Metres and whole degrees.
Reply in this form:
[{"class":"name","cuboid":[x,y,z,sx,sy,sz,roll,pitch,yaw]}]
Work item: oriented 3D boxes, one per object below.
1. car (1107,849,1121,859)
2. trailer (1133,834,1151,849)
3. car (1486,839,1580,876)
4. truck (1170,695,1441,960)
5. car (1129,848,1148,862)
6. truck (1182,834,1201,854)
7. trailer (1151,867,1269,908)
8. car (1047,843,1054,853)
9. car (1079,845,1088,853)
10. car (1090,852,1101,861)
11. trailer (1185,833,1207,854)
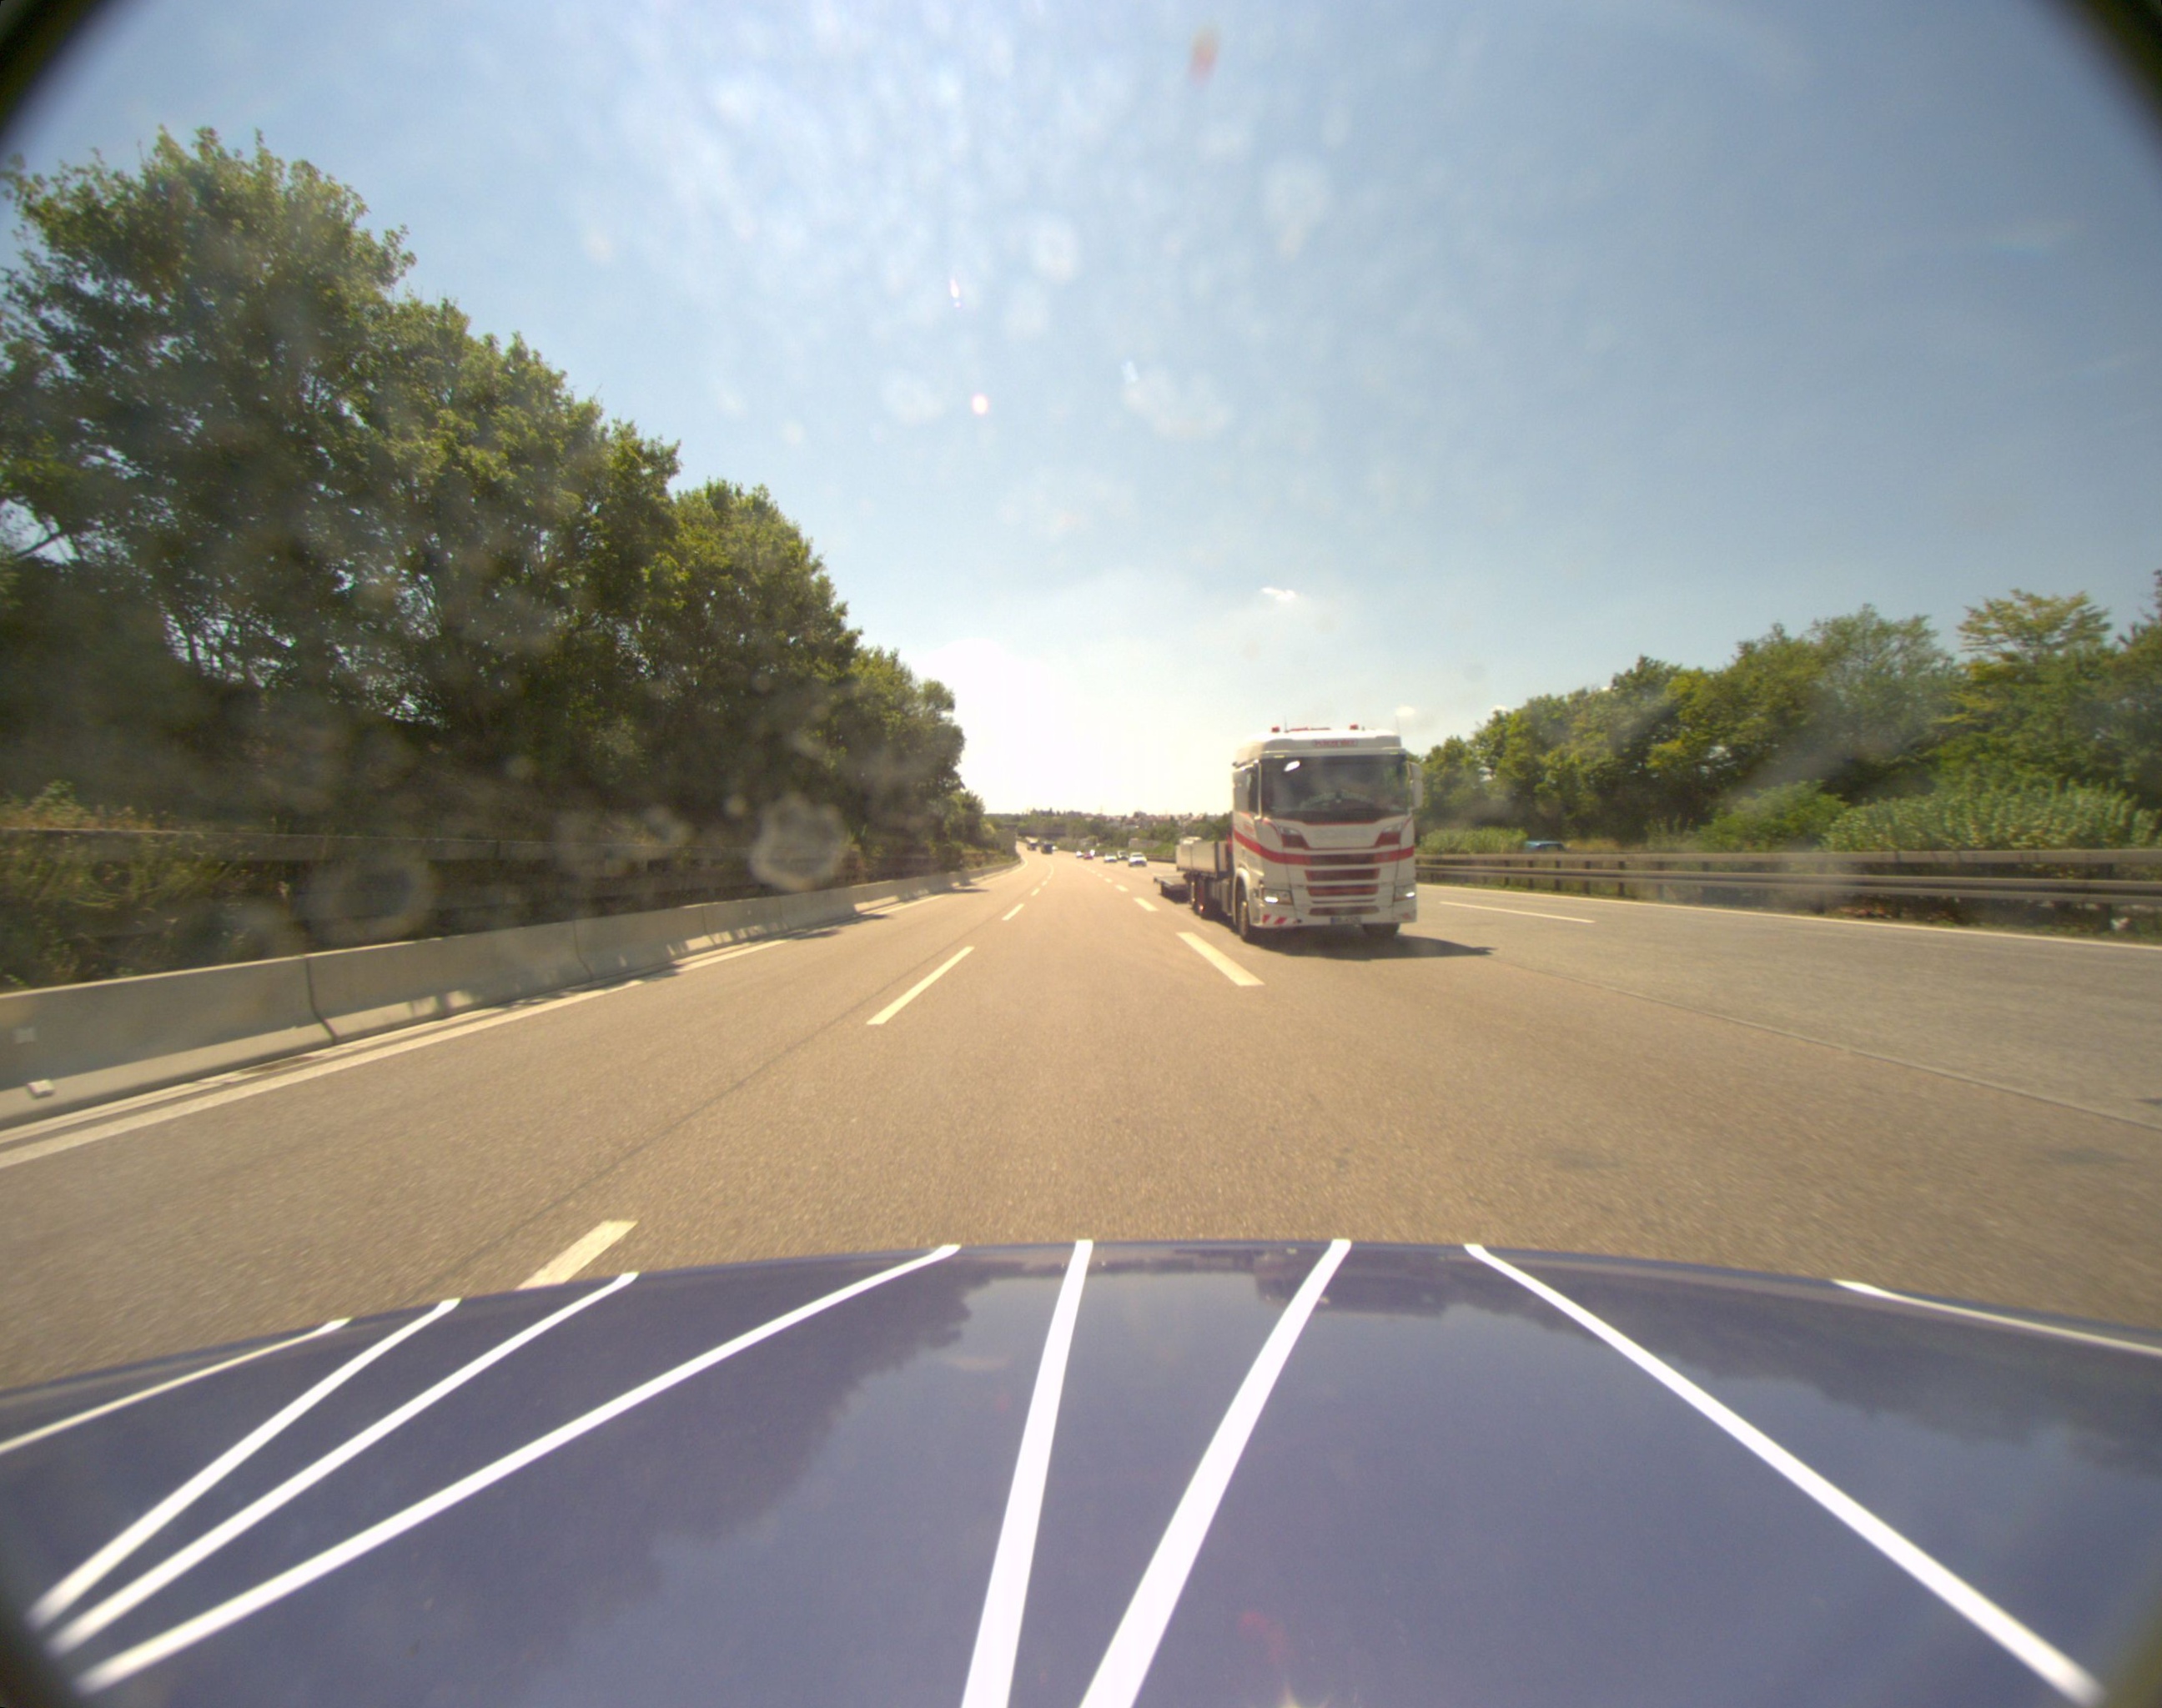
[{"class":"car","cuboid":[5.124,-0.048,119.386,1.787,1.494,4.169,0,1,-3]},{"class":"trailer","cuboid":[17.070,-3.437,214.114,3.401,4.066,13.921,-2,1,-2]},{"class":"car","cuboid":[20.002,0.151,33.811,1.826,1.479,3.918,-2,0,1]},{"class":"truck","cuboid":[3.879,-0.397,16.364,2.721,3.780,10.671,-1,0,1]},{"class":"car","cuboid":[6.565,0.137,87.360,1.883,1.543,4.000,-2,0,0]},{"class":"truck","cuboid":[22.523,-1.993,155.174,2.702,3.866,5.744,-2,0,-1]},{"class":"trailer","cuboid":[4.039,1.030,25.576,2.721,0.929,7.759,-1,0,1]},{"class":"car","cuboid":[-9.993,-2.013,247.862,2.116,3.284,6.442,-2,1,-3]},{"class":"car","cuboid":[0.572,-1.160,182.873,1.999,1.832,3.998,-2,1,-4]},{"class":"car","cuboid":[2.974,0.535,156.890,1.999,1.832,3.998,-2,1,-4]},{"class":"trailer","cuboid":[22.608,-2.039,150.024,2.697,3.866,9.732,-2,0,-1]}]
